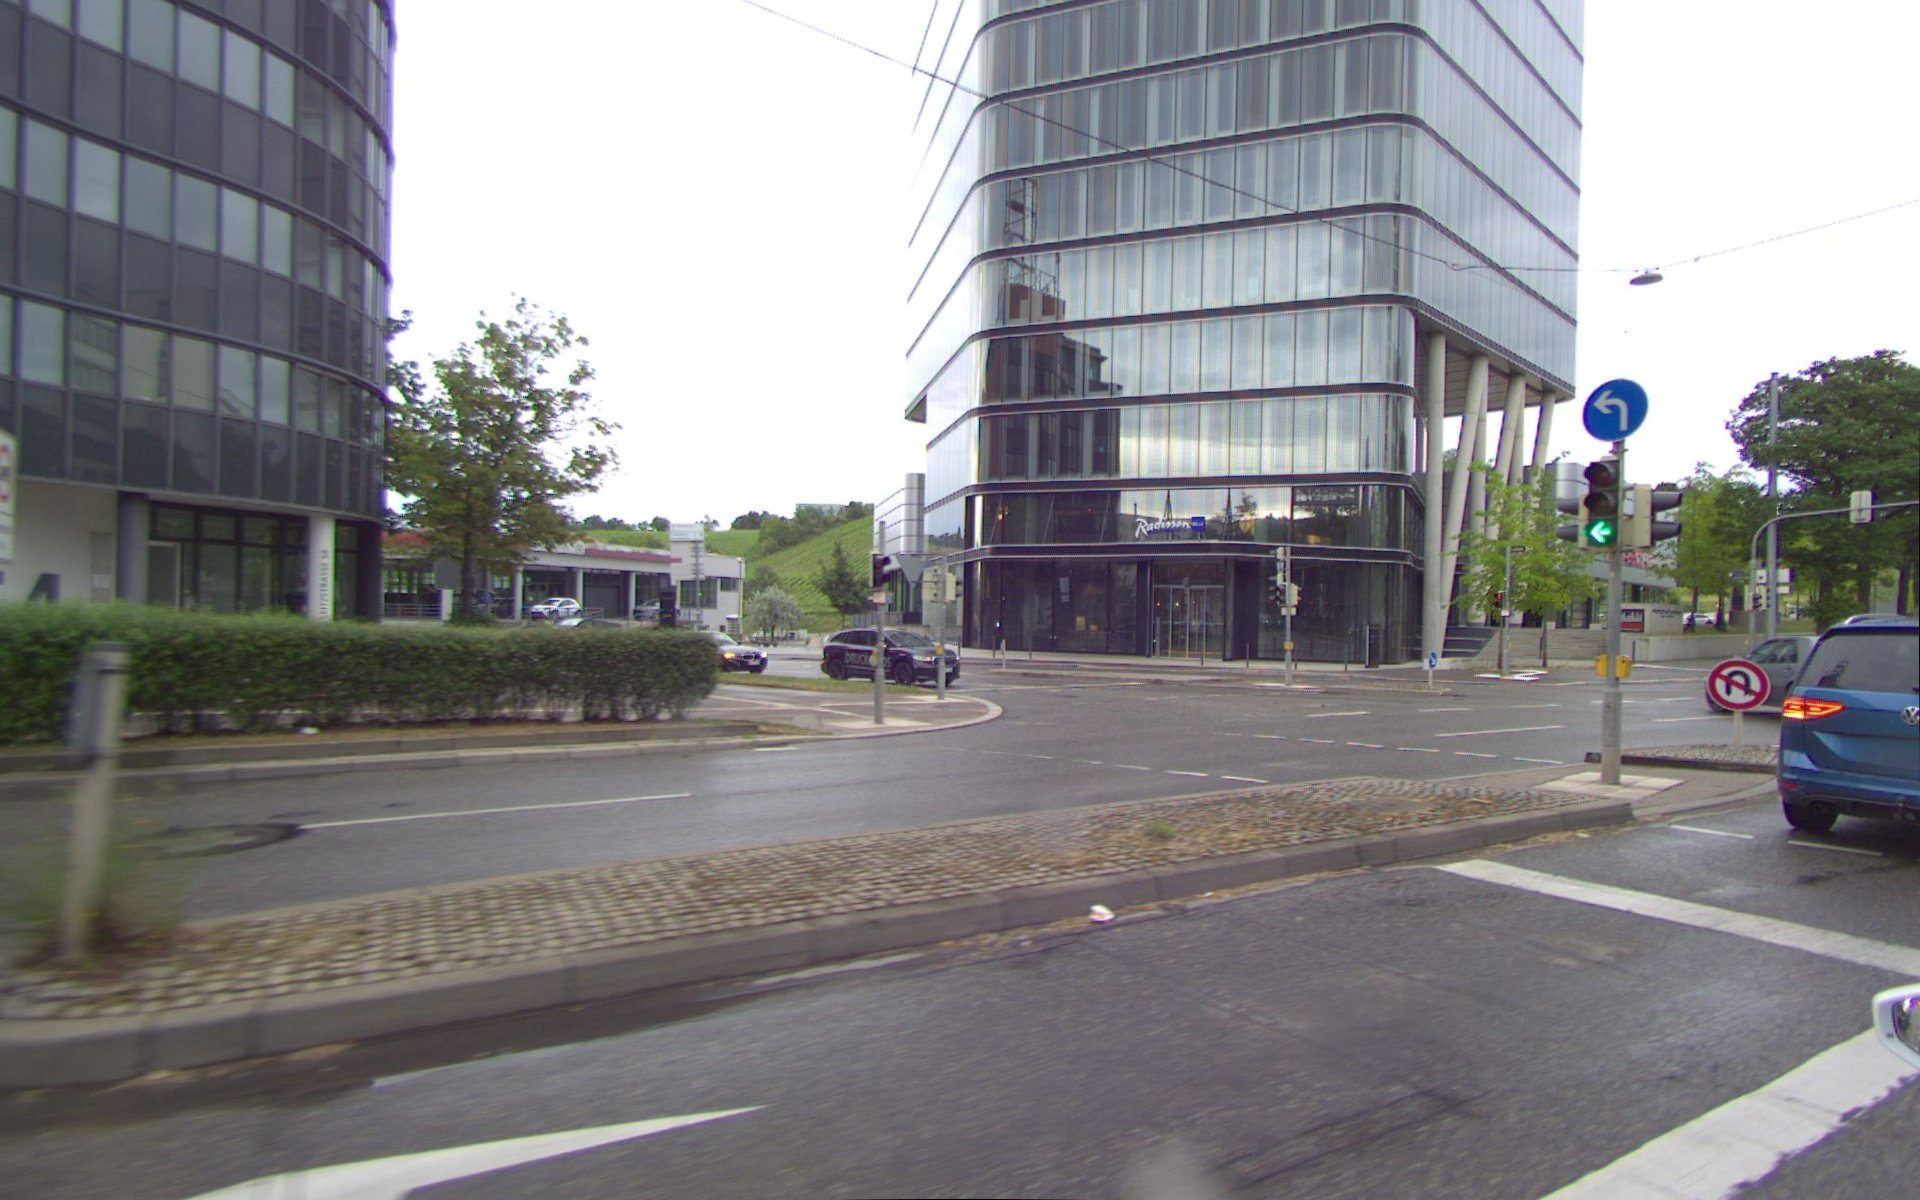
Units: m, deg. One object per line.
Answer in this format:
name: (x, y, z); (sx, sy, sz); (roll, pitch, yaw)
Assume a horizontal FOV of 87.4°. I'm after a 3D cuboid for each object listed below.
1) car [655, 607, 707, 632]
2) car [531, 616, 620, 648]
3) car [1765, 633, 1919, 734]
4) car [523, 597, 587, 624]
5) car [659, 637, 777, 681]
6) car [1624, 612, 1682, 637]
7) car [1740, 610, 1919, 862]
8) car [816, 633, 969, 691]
car: (-21.599, 1.536, 77.875); (1.765, 1.874, 3.999); (0, -2, 23)
car: (-22.769, 1.923, 59.695); (1.765, 1.839, 4.997); (0, -2, 27)
car: (15.555, 1.376, 17.573); (1.821, 1.530, 4.039); (0, -2, 32)
car: (-27.121, 0.711, 67.321); (1.782, 1.672, 3.815); (0, -2, 23)
car: (-8.135, 1.928, 33.665); (3.938, 1.380, 1.845); (-2, -2, 39)
car: (58.496, 2.036, 84.841); (3.938, 2.040, 1.991); (0, -1, 39)
car: (7.898, 0.935, 7.644); (4.150, 1.617, 1.763); (2, -2, -31)
car: (-1.981, 1.723, 28.819); (4.307, 1.530, 1.848); (-2, -2, 40)
